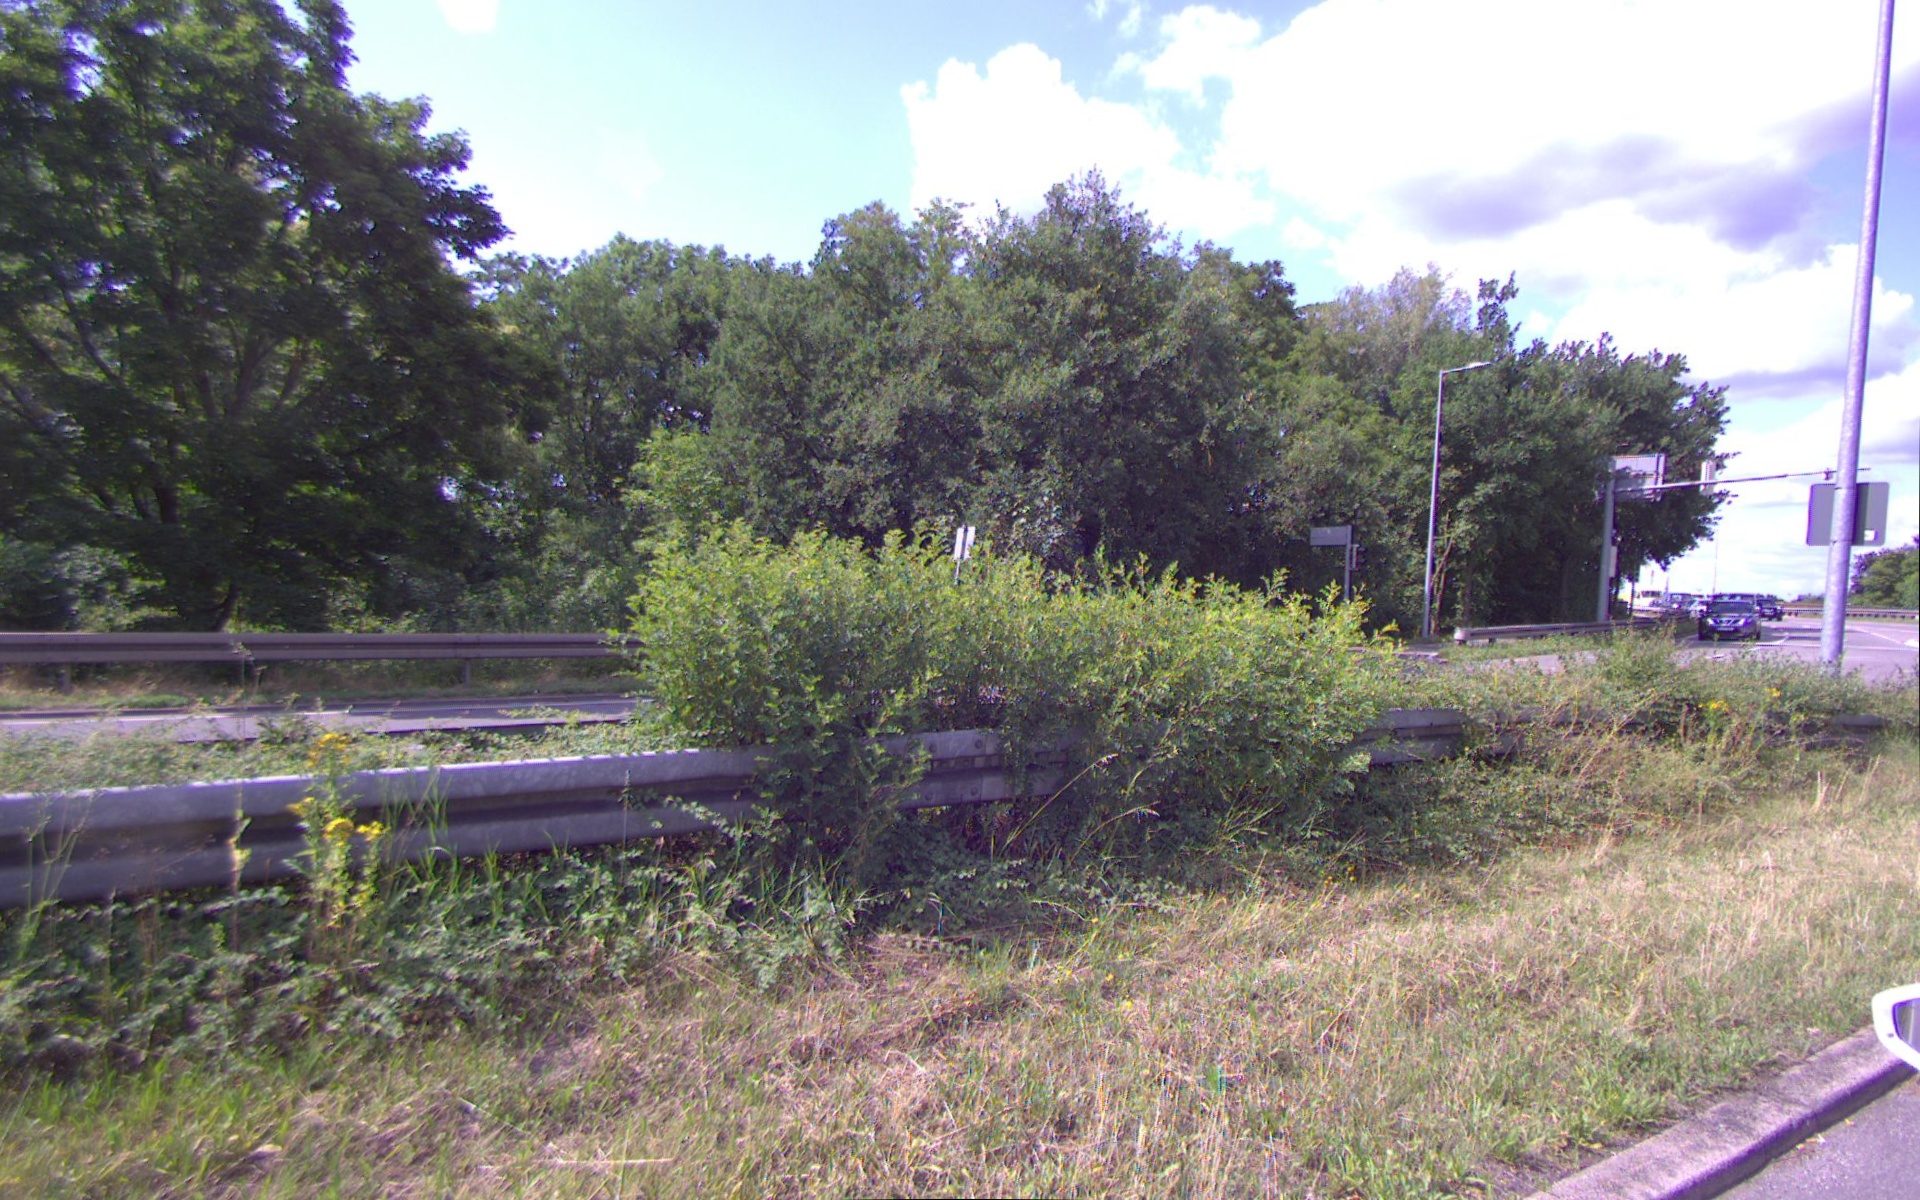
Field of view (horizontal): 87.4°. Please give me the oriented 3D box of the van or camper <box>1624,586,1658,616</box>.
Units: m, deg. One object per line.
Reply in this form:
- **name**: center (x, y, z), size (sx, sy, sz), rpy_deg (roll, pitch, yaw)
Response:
- **van or camper**: center (64.660, 0.066, 95.461), size (1.963, 2.719, 6.852), rpy_deg (2, 1, 28)

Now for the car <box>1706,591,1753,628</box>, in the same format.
- **car**: center (39.959, 0.487, 52.129), size (1.820, 1.826, 4.307), rpy_deg (2, 1, 39)

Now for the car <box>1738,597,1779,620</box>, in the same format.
- **car**: center (57.589, 0.592, 72.504), size (1.706, 1.516, 4.038), rpy_deg (2, 1, 31)

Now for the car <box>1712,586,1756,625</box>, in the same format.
- **car**: center (44.865, 0.338, 58.263), size (1.819, 2.128, 4.311), rpy_deg (2, 1, 36)

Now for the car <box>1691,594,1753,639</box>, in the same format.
- **car**: center (30.702, 0.685, 40.414), size (1.816, 1.639, 3.982), rpy_deg (2, 0, 39)

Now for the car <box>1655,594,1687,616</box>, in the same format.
- **car**: center (58.034, 0.406, 82.080), size (1.817, 1.728, 4.316), rpy_deg (2, 1, 32)
